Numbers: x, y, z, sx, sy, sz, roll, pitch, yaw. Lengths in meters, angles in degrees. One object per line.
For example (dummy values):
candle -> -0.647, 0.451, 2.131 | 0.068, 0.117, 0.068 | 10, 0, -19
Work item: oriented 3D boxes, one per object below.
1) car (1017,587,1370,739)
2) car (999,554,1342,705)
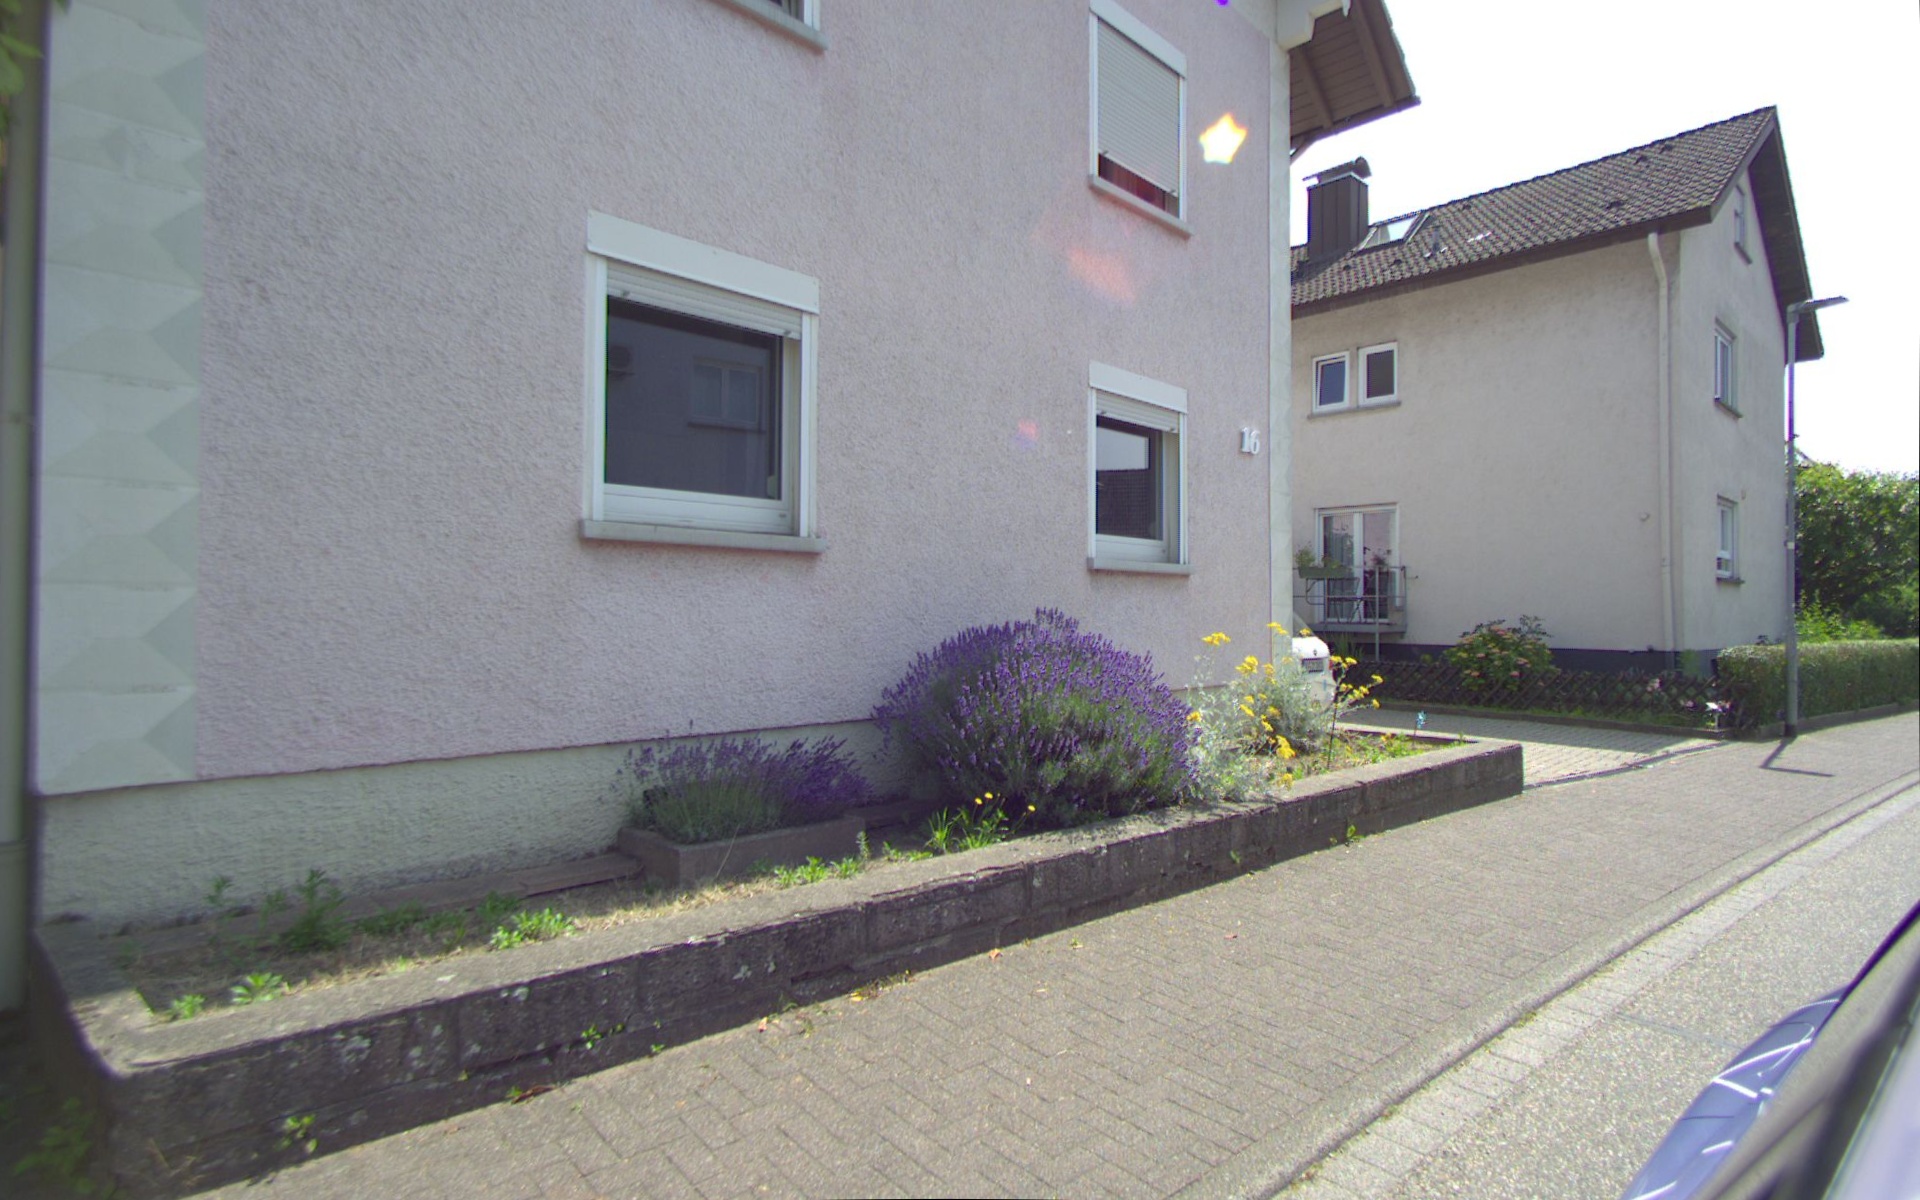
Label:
car -> 2.637, 0.619, 11.951 | 3.747, 1.479, 1.654 | 1, 0, 44
car -> 3.031, 0.356, 15.593 | 2.020, 1.937, 4.988 | 1, 0, -41
